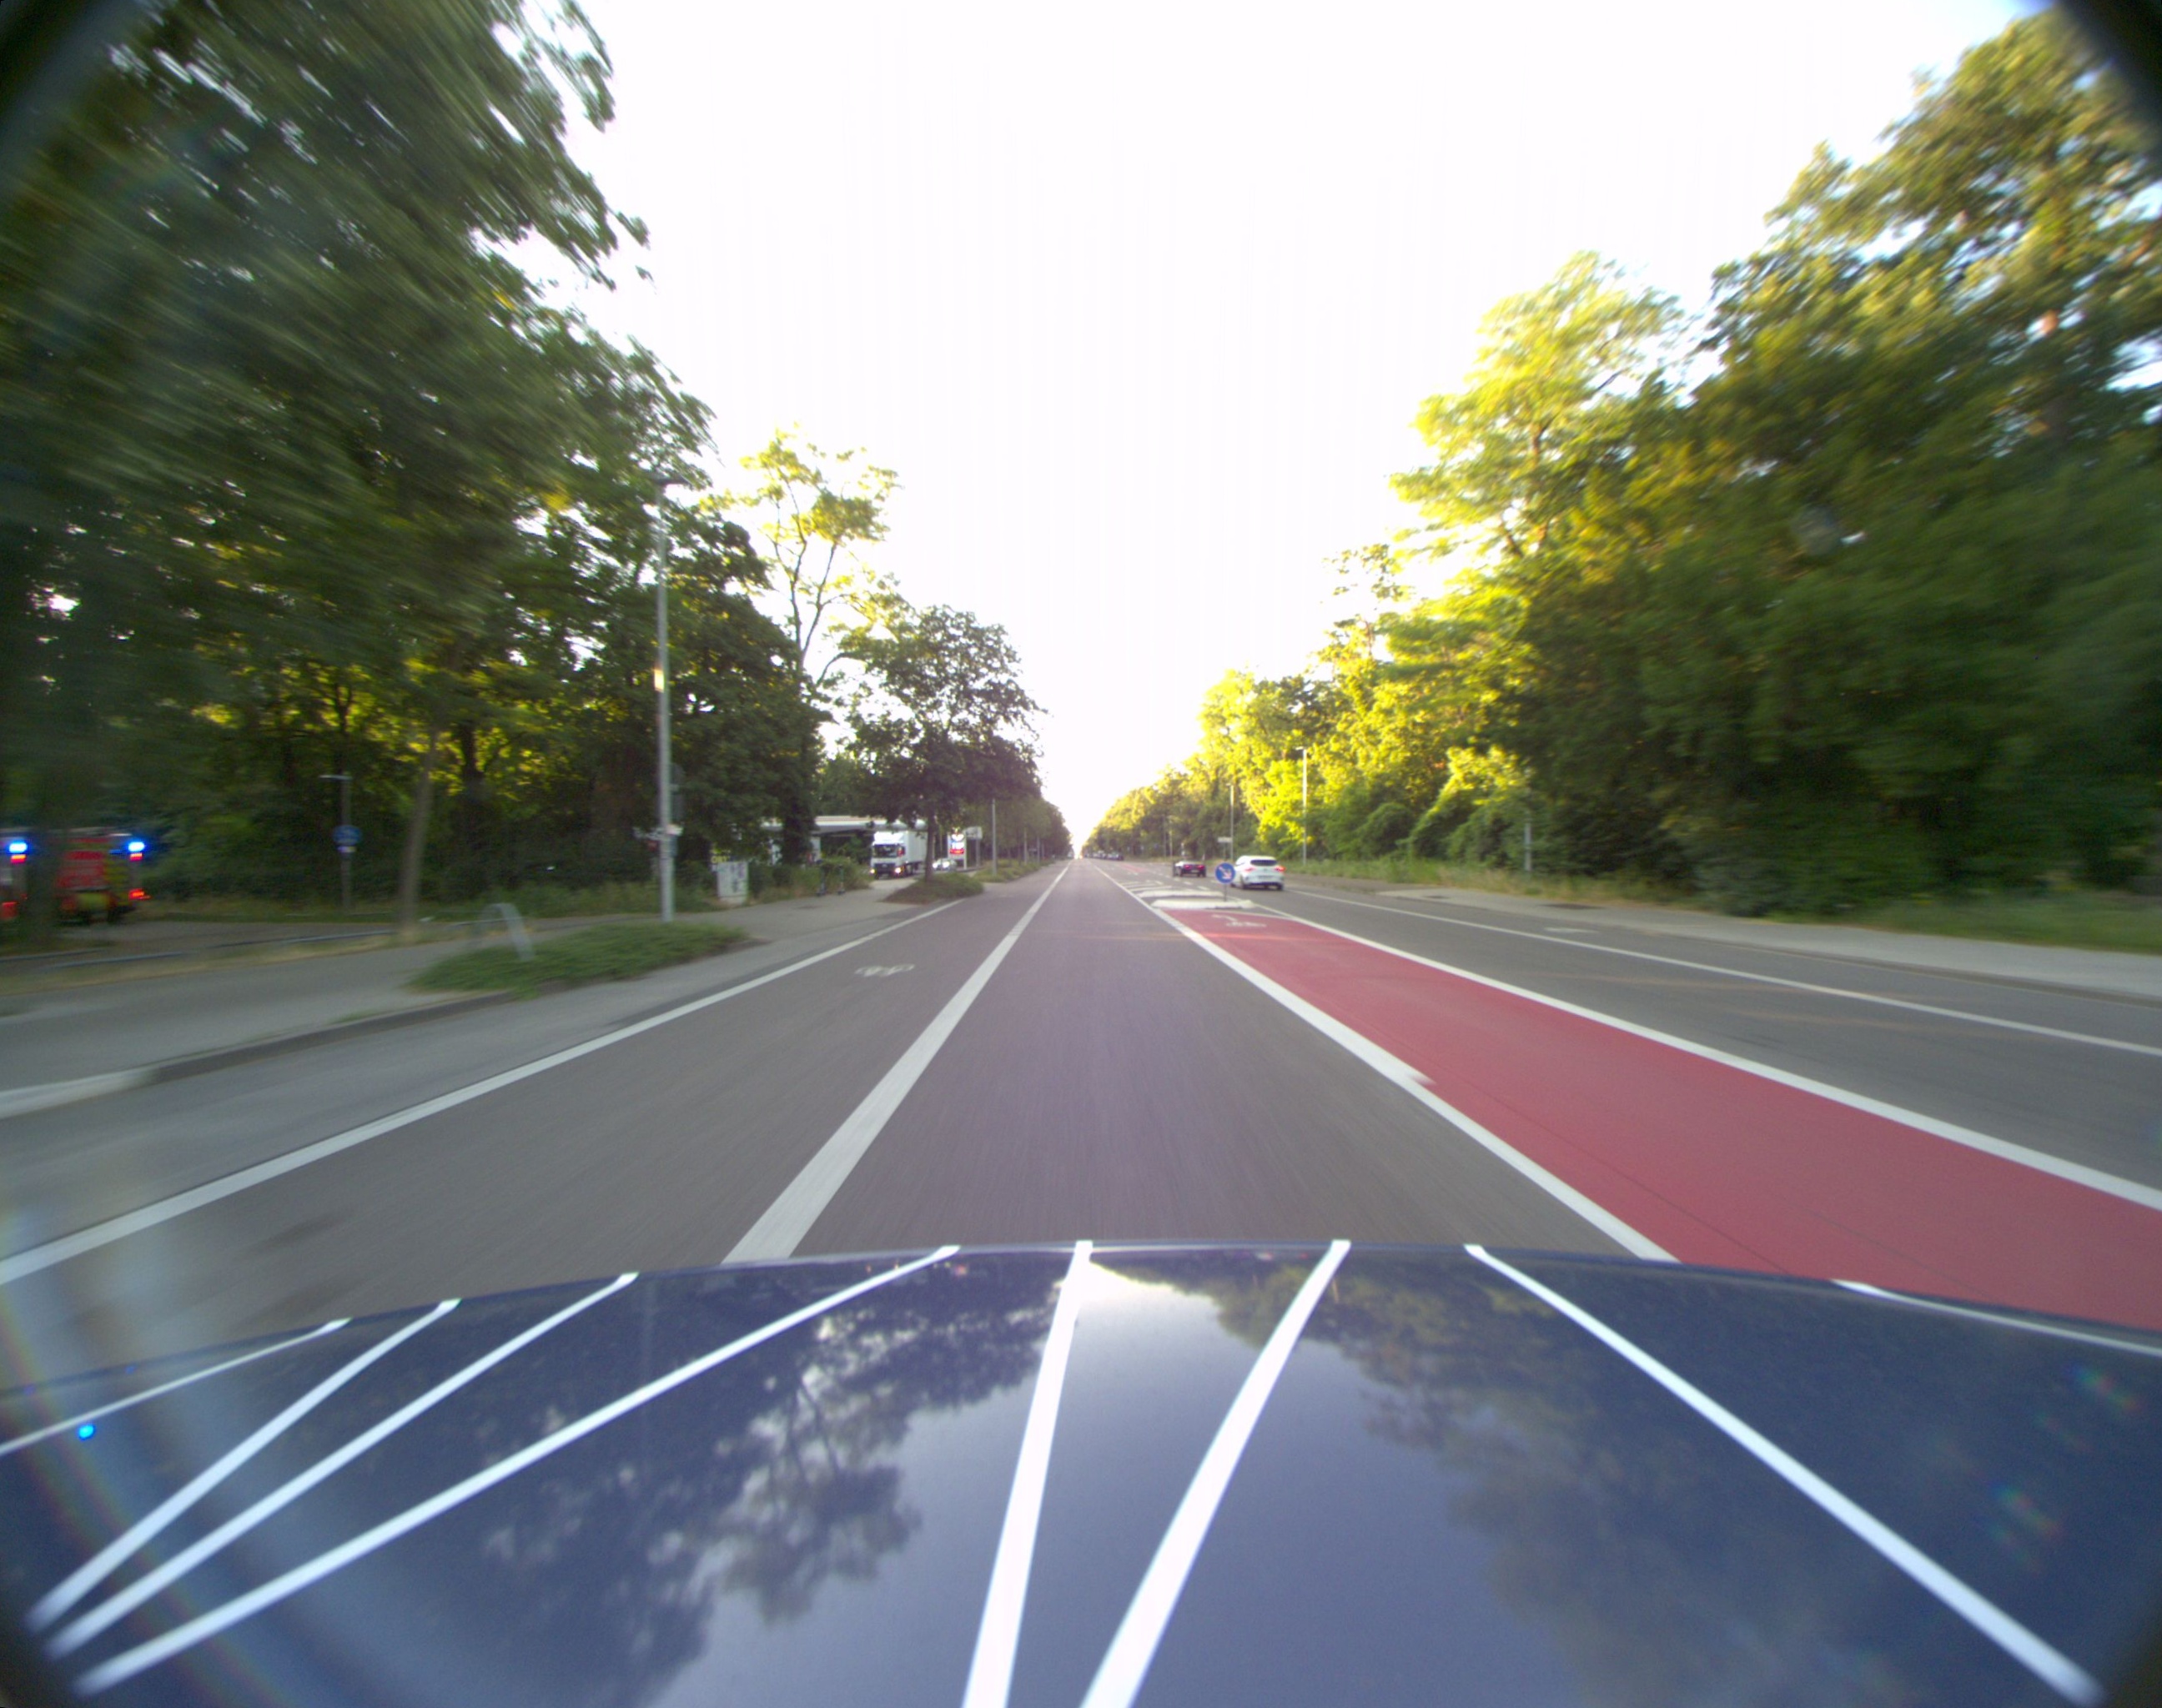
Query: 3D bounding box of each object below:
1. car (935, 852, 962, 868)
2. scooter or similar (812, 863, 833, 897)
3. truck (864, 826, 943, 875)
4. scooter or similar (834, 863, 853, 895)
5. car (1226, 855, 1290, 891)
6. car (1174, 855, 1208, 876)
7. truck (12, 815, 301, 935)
[{"bbox_3d":[-14.727,0.634,84.591,1.998,1.581,4.710,-2,0,1],"label":"car"},{"bbox_3d":[-10.108,1.004,29.692,0.483,1.274,1.231,0,0,-5],"label":"scooter or similar"},{"bbox_3d":[-15.125,-0.328,66.484,3.226,3.707,15.882,-2,0,-1],"label":"truck"},{"bbox_3d":[-9.716,1.000,31.130,0.483,1.274,1.139,0,0,-5],"label":"scooter or similar"},{"bbox_3d":[7.624,0.774,33.128,1.851,1.406,4.180,1,0,0],"label":"car"},{"bbox_3d":[7.403,0.776,51.327,1.754,1.299,3.999,0,1,0],"label":"car"},{"bbox_3d":[-28.022,0.632,23.006,8.644,3.192,2.765,-1,1,20],"label":"truck"}]
